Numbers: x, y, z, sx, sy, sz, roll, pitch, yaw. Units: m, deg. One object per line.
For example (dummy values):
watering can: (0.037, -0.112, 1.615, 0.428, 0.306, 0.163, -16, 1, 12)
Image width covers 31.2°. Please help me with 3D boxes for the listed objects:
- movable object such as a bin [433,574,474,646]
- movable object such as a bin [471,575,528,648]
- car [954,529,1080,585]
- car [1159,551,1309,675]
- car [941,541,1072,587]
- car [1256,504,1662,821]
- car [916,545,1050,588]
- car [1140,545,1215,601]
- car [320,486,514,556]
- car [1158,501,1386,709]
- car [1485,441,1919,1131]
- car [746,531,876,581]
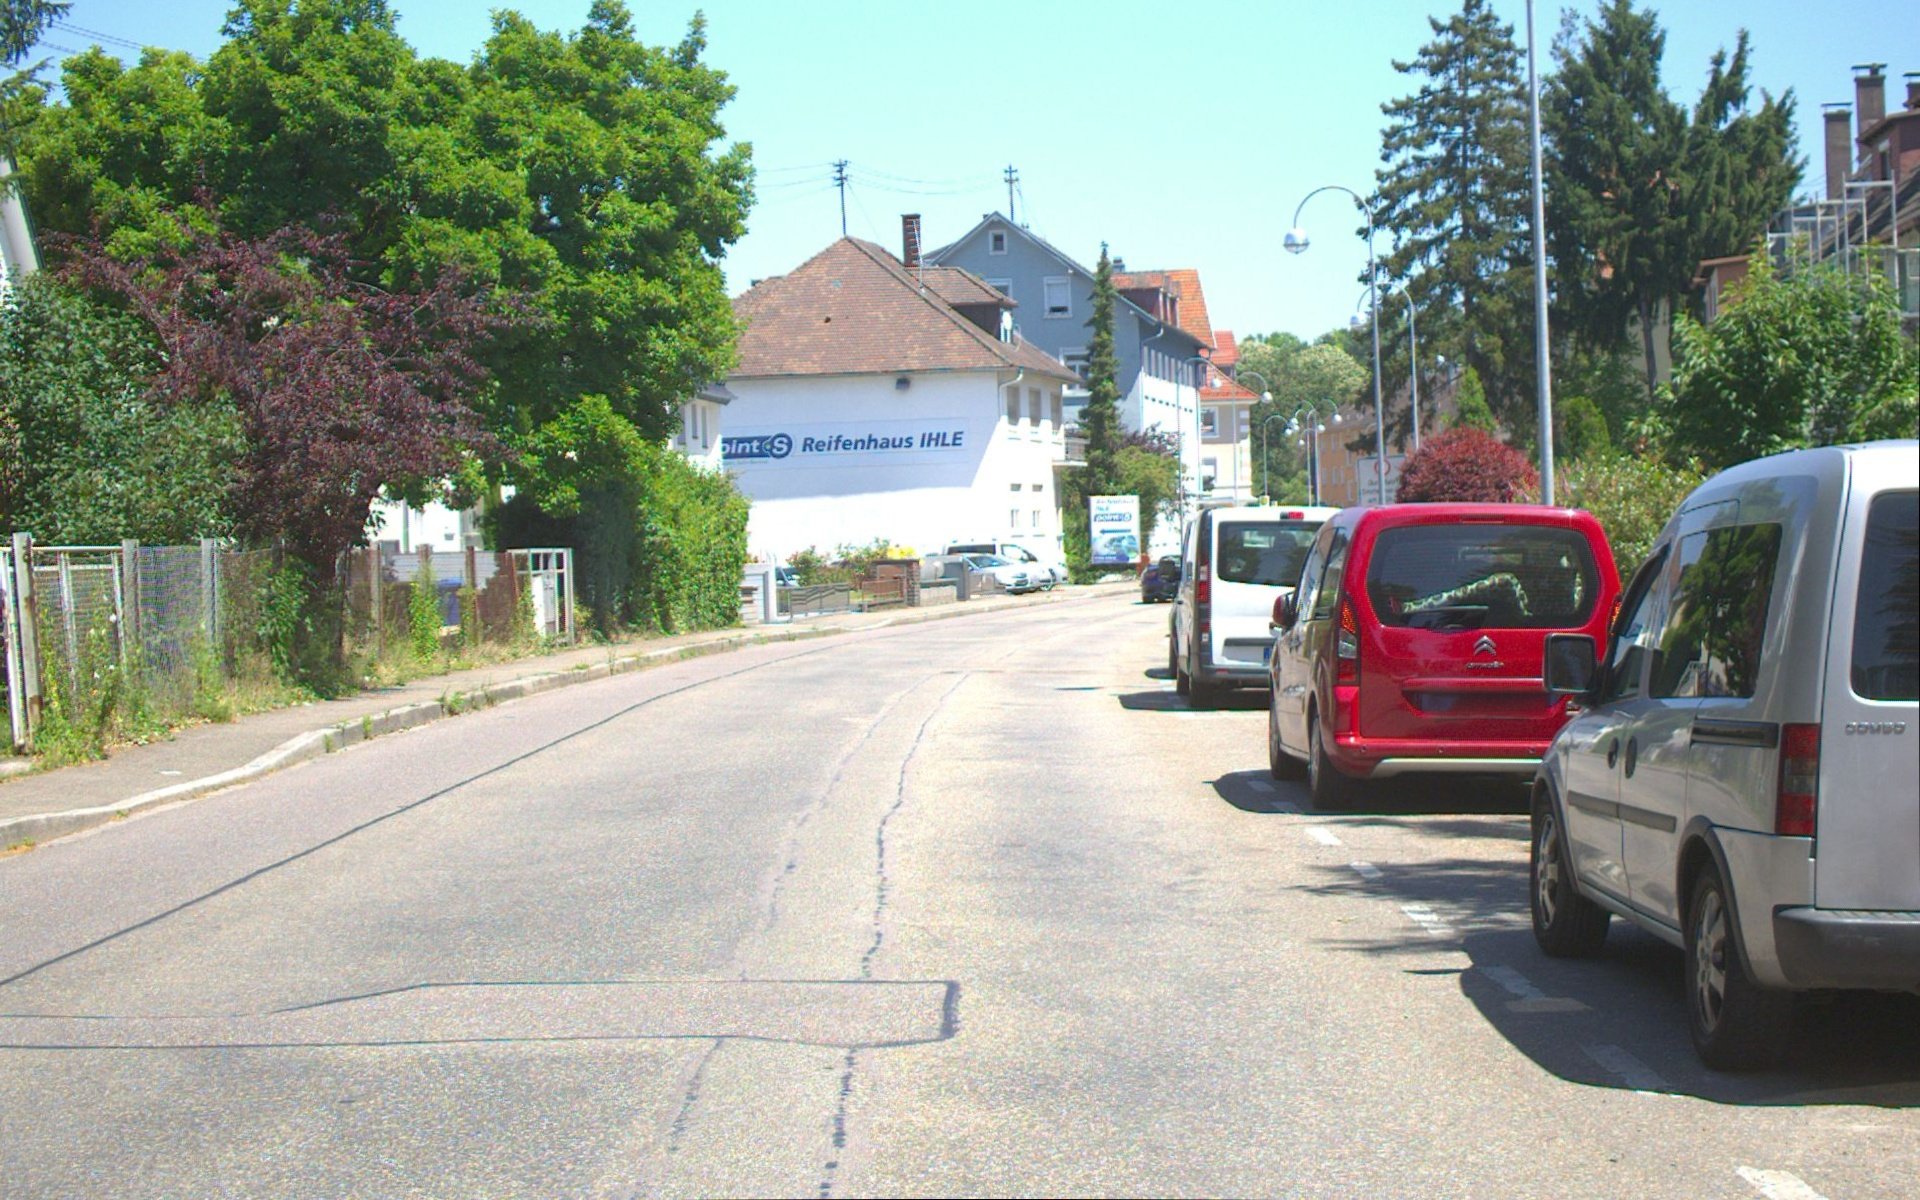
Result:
movable object such as a bin: (-7.151, 0.136, 48.556, 0.467, 1.006, 0.506, -1, 1, 2)
movable object such as a bin: (-6.437, 0.157, 48.057, 0.708, 0.993, 0.474, -1, 1, 0)
car: (1.945, -1.473, 117.050, 4.129, 1.768, 1.828, -1, 1, 6)
car: (3.275, 0.122, 41.650, 1.656, 1.393, 4.000, -1, 1, 3)
car: (1.558, -1.206, 114.499, 4.130, 1.389, 1.828, -1, 1, 9)
car: (2.930, 0.313, 21.098, 1.903, 1.722, 4.391, 1, 1, 1)
car: (0.721, -1.085, 111.567, 4.139, 1.339, 1.906, 0, 2, 44)
car: (6.050, -0.751, 95.197, 1.795, 1.505, 3.999, 0, 1, 8)
car: (-11.788, -1.708, 74.822, 3.986, 1.505, 1.800, 0, 1, -2)
car: (3.048, 0.003, 34.440, 1.903, 1.918, 4.719, -1, 1, 1)
car: (2.924, 0.446, 11.122, 1.746, 1.776, 4.543, 0, 1, 0)
car: (-4.638, -1.368, 106.679, 1.795, 1.505, 3.998, -3, 2, -44)
